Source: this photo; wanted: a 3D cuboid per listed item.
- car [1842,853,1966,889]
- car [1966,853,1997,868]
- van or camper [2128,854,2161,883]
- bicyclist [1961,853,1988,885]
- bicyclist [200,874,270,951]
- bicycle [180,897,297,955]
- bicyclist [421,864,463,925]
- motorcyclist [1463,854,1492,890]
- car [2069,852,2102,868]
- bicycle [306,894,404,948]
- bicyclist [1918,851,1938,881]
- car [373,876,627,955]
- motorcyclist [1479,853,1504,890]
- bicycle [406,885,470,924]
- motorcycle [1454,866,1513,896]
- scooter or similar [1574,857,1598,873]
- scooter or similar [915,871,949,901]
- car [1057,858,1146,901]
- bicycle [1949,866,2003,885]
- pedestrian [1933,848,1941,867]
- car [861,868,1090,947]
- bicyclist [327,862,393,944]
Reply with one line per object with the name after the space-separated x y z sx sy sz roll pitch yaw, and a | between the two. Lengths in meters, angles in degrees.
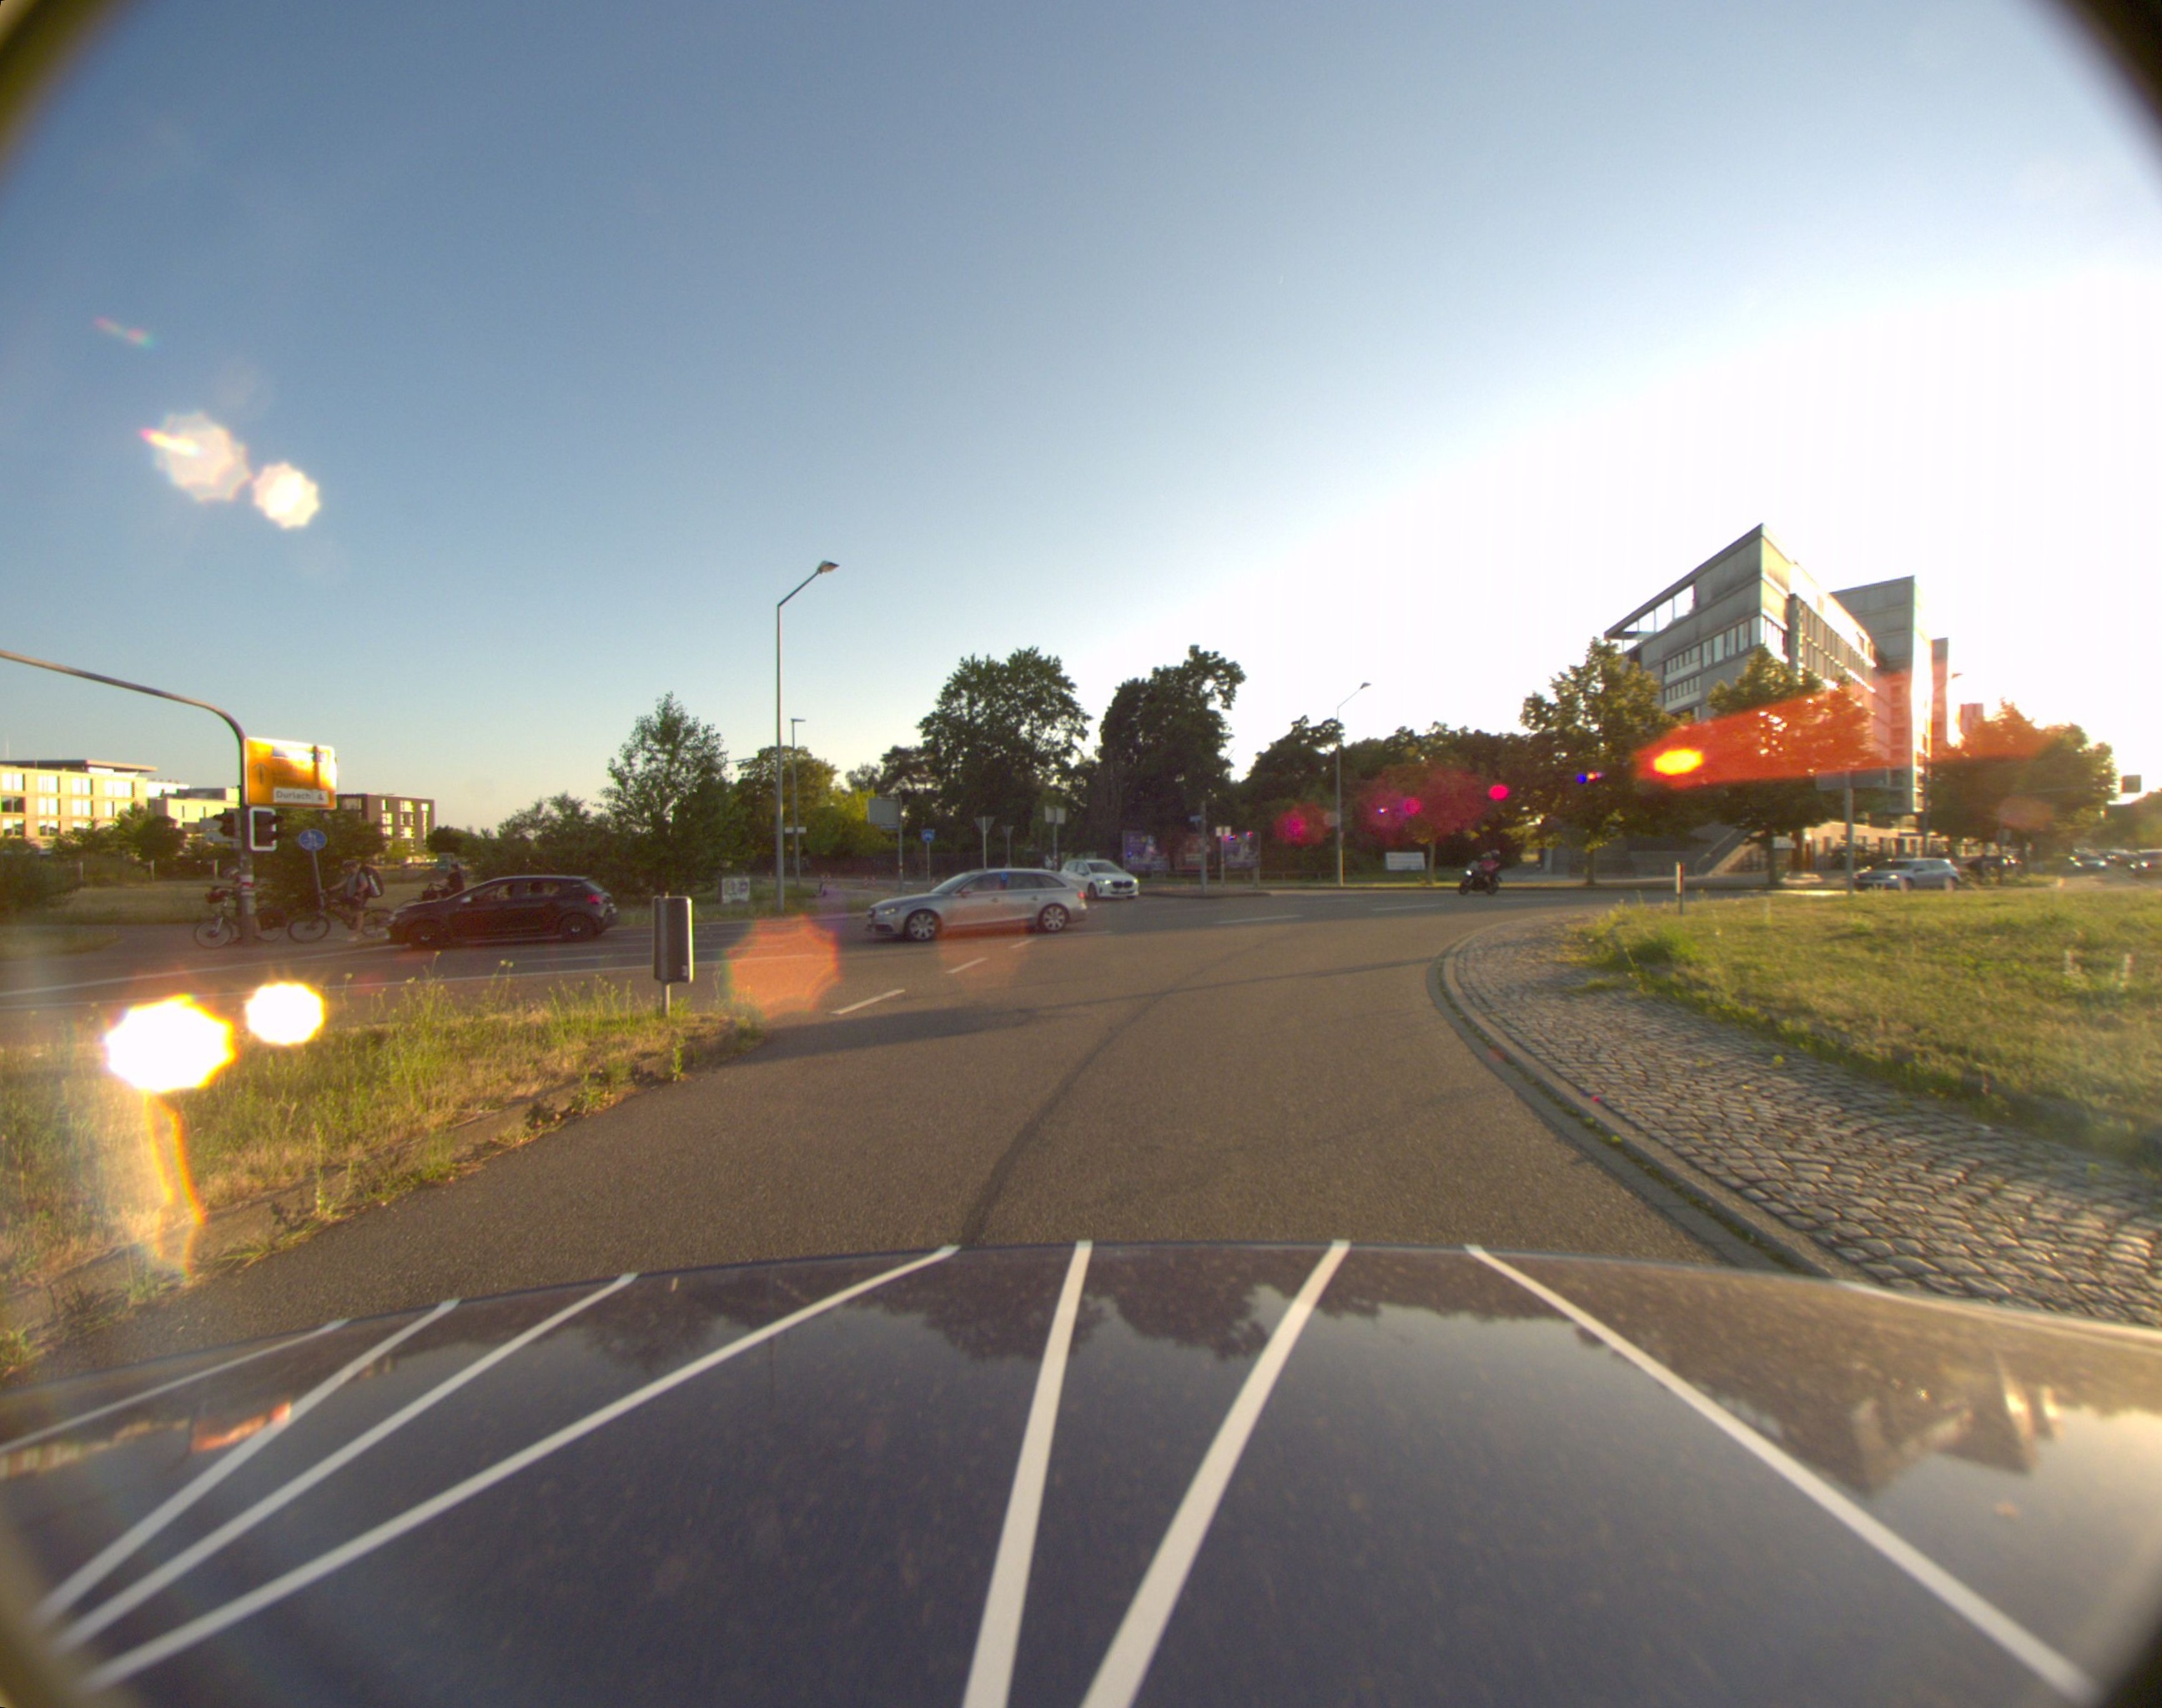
36.519 0.726 33.757 4.052 1.472 1.891 -1 0 -11 | car
88.076 0.600 74.268 4.008 1.455 1.798 0 0 -38 | car
77.796 1.024 54.991 5.337 1.946 1.995 -1 0 -32 | van or camper
48.594 0.816 41.333 0.805 1.745 0.847 0 0 -31 | bicyclist
-19.356 1.320 17.398 0.641 1.693 0.770 0 3 0 | bicyclist
-19.318 1.617 17.480 0.456 1.079 1.927 0 3 1 | bicycle
-18.584 1.153 22.117 0.845 1.733 0.535 -1 0 -31 | bicyclist
15.432 0.690 29.602 0.715 1.408 0.688 -1 1 -13 | motorcyclist
94.664 0.519 71.649 4.008 1.455 1.798 0 0 -38 | car
-17.462 1.596 18.336 0.456 1.079 1.928 0 2 1 | bicycle
46.414 0.656 41.644 0.682 1.638 0.685 0 0 43 | bicyclist
-12.212 1.236 16.325 4.005 1.455 1.799 0 0 -24 | car
16.081 0.676 29.759 0.594 1.400 0.635 -1 1 -12 | motorcyclist
-18.652 1.458 22.064 1.375 1.082 0.279 -1 0 -31 | bicycle
15.719 1.046 29.669 2.160 1.094 0.557 -1 1 -12 | motorcycle
38.416 0.853 57.814 0.367 1.213 1.573 0 0 -28 | scooter or similar
-6.047 1.289 30.922 0.441 1.156 1.386 0 0 38 | scooter or similar
0.742 0.965 30.400 1.893 1.549 4.086 -1 0 -26 | car
48.872 1.161 41.512 0.438 1.016 1.859 0 0 -30 | bicycle
92.376 0.408 81.965 0.528 2.002 0.537 -1 0 -38 | pedestrian
-2.203 1.043 16.067 4.455 1.414 1.799 0 0 -26 | car
-17.330 1.165 18.288 0.641 1.887 0.910 0 2 0 | bicyclist
